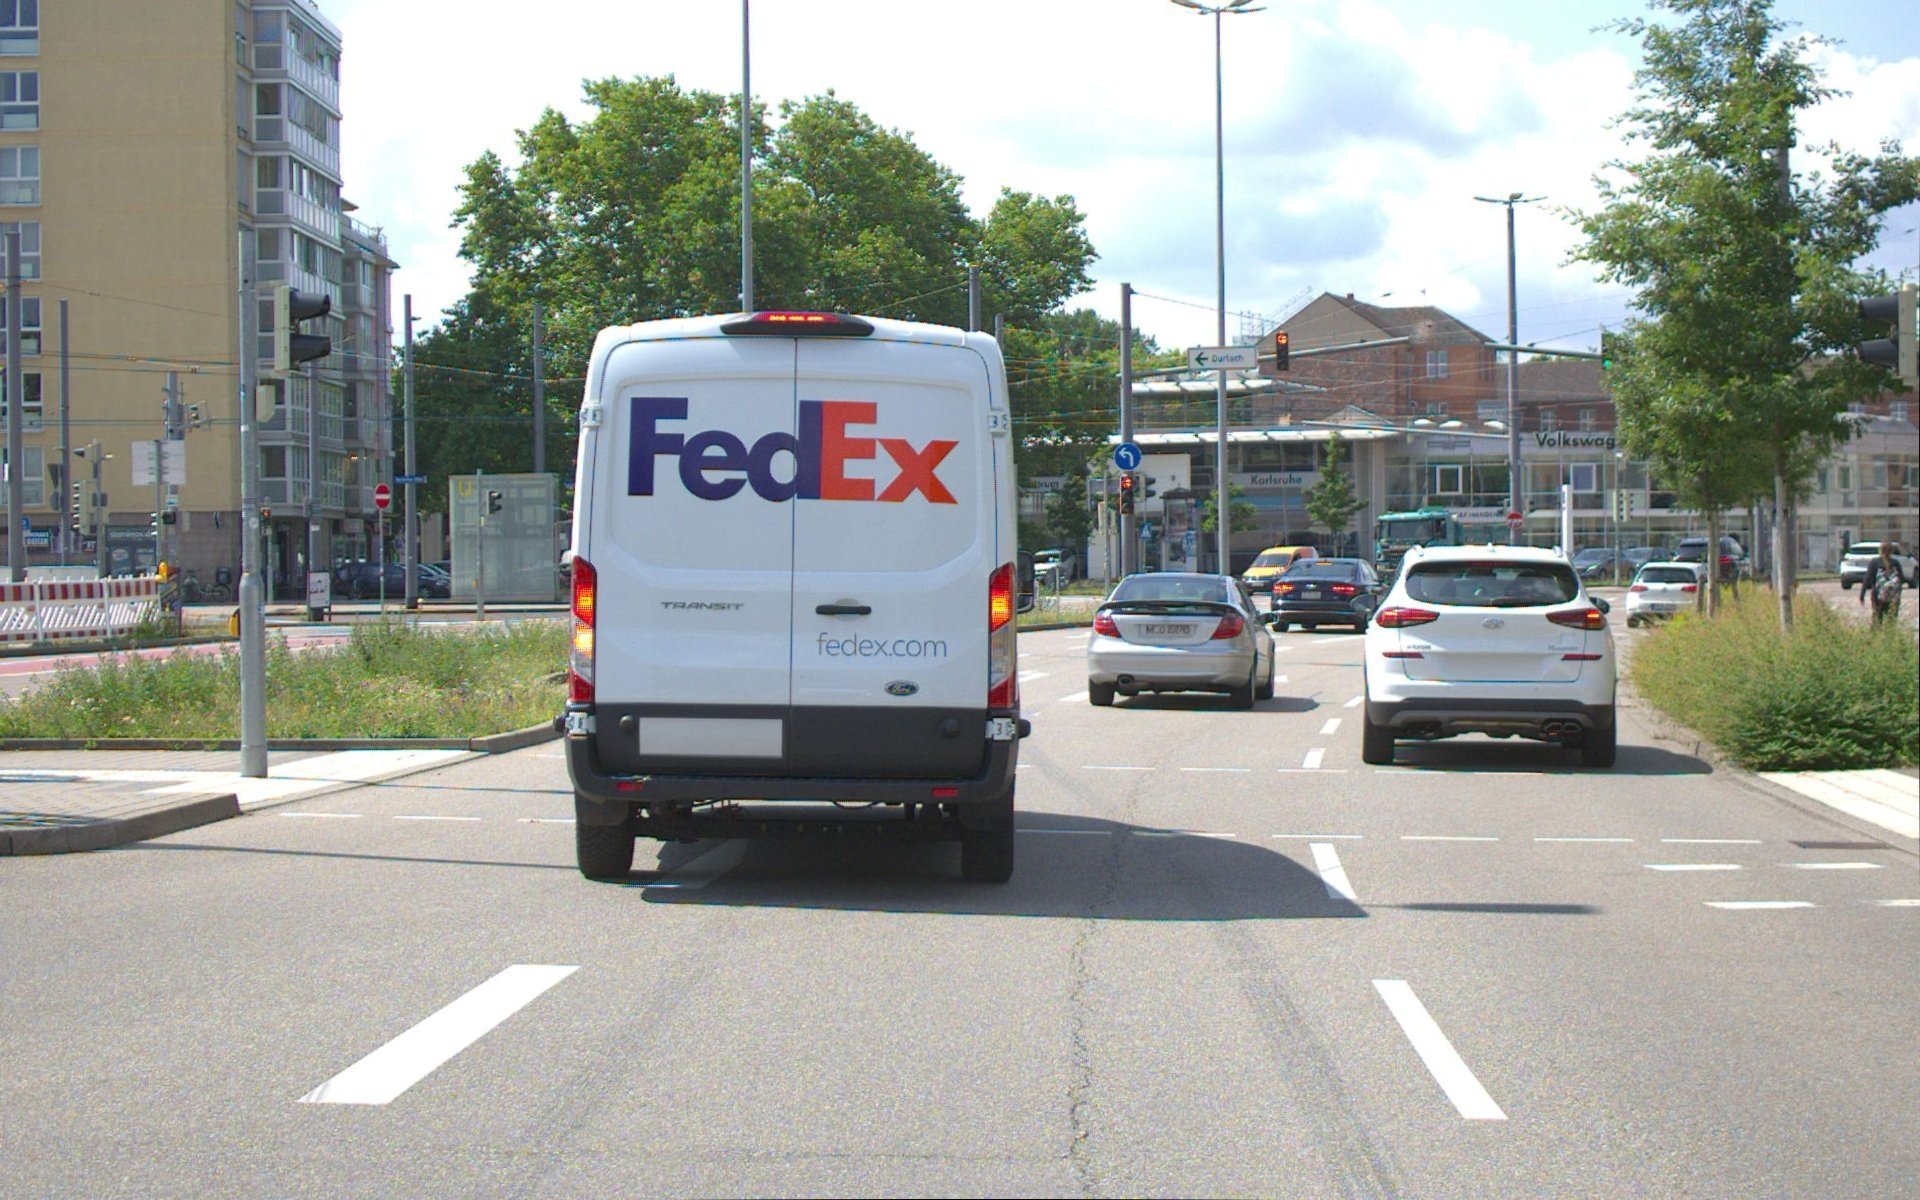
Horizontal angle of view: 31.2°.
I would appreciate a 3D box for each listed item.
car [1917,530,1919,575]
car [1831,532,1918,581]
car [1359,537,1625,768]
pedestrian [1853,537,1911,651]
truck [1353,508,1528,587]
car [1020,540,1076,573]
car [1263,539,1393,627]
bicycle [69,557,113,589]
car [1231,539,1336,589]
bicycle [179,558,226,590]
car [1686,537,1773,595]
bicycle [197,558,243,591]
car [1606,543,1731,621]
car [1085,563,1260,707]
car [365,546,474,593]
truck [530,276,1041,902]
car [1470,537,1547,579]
[{"bbox_3d":[36.826,-1.790,127.418,1.884,1.636,3.951,0,1,27],"label":"car"},{"bbox_3d":[31.581,-1.496,118.628,1.884,1.636,3.950,0,1,31],"label":"car"},{"bbox_3d":[4.058,0.340,26.718,1.881,1.636,4.232,0,1,7],"label":"car"},{"bbox_3d":[12.983,-0.090,48.420,0.756,1.584,0.761,1,0,15],"label":"pedestrian"},{"bbox_3d":[18.049,-2.000,128.602,2.891,2.842,8.775,0,1,34],"label":"truck"},{"bbox_3d":[4.412,-2.160,172.466,1.995,1.568,4.175,1,0,13],"label":"car"},{"bbox_3d":[7.310,-0.361,67.908,1.929,1.636,4.789,0,1,14],"label":"car"},{"bbox_3d":[-31.260,-0.983,123.612,0.510,1.143,2.133,1,0,-44],"label":"bicycle"},{"bbox_3d":[12.096,-1.353,128.454,1.721,1.794,4.731,-1,1,36],"label":"car"},{"bbox_3d":[-27.300,-0.928,123.820,2.133,1.143,0.532,1,0,43],"label":"bicycle"},{"bbox_3d":[22.846,-1.020,101.970,1.883,1.636,3.952,0,1,22],"label":"car"},{"bbox_3d":[-26.721,-0.921,124.124,2.133,1.143,0.510,1,0,43],"label":"bicycle"},{"bbox_3d":[15.659,-0.418,75.859,1.883,1.636,3.952,0,1,24],"label":"car"},{"bbox_3d":[2.286,0.330,36.460,1.741,1.387,4.179,0,1,4],"label":"car"},{"bbox_3d":[-21.983,-1.231,139.839,4.097,1.852,1.984,1,0,0],"label":"car"},{"bbox_3d":[-0.744,-0.074,17.523,2.137,2.631,5.917,1,1,0],"label":"truck"},{"bbox_3d":[20.053,-1.539,125.519,1.655,1.464,4.148,0,1,26],"label":"car"}]
